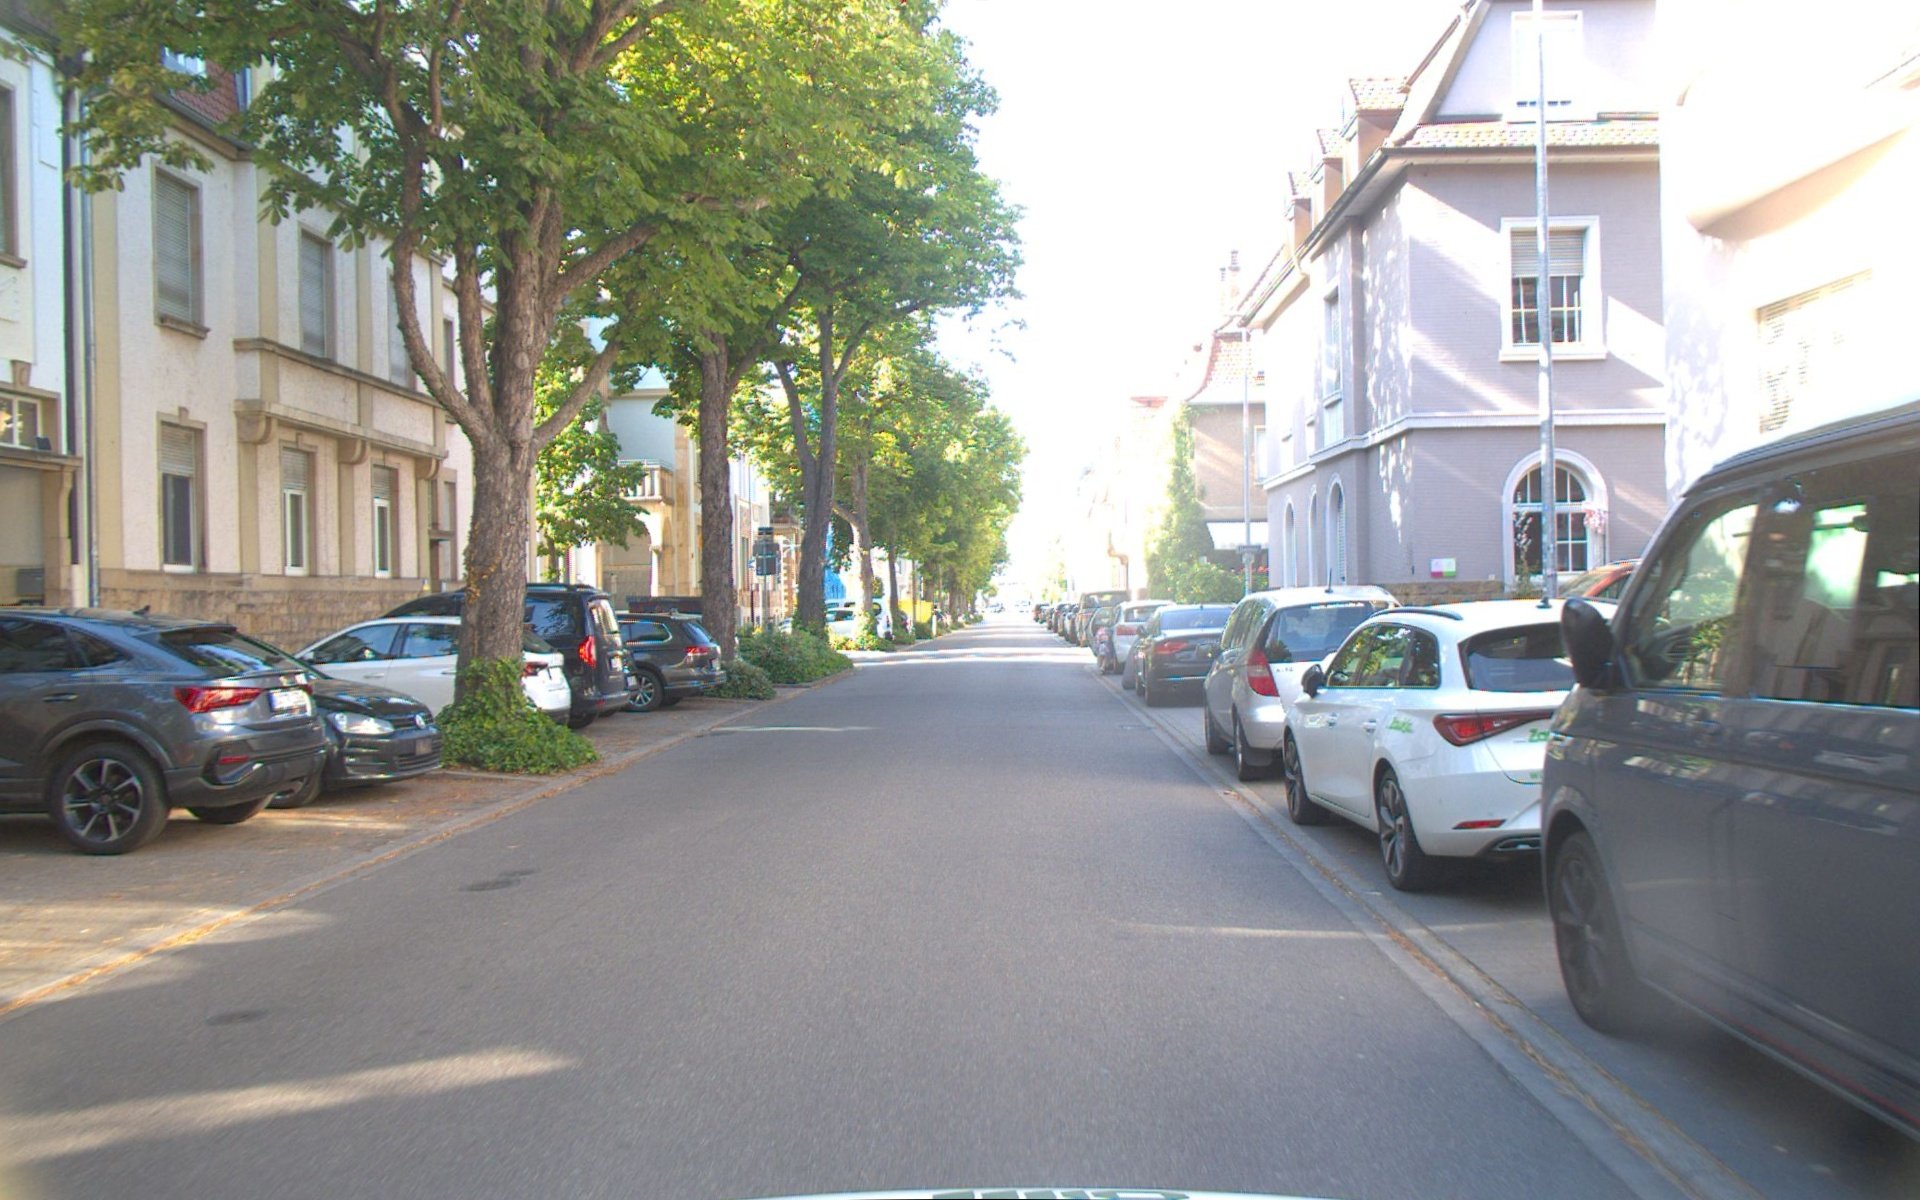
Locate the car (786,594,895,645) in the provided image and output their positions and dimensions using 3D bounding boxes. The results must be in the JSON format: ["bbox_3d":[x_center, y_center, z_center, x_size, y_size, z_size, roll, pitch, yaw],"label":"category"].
[{"bbox_3d":[-4.360,0.708,60.782,3.906,1.791,1.797,1,-1,-2],"label":"car"}]

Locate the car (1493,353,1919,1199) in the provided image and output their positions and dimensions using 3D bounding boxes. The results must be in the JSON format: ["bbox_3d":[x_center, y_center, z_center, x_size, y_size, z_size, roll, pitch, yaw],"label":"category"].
[{"bbox_3d":[3.012,0.403,4.219,1.826,1.949,4.783,-3,0,2],"label":"car"}]

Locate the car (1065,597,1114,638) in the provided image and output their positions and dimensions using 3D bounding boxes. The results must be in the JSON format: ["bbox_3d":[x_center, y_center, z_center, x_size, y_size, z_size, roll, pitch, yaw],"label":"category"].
[{"bbox_3d":[4.995,0.663,64.125,1.656,1.423,3.806,-4,0,2],"label":"car"}]

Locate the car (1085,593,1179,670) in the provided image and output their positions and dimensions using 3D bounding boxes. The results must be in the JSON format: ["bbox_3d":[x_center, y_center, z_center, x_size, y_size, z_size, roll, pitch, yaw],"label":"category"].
[{"bbox_3d":[3.876,0.685,37.827,1.665,1.566,4.155,-3,0,0],"label":"car"}]

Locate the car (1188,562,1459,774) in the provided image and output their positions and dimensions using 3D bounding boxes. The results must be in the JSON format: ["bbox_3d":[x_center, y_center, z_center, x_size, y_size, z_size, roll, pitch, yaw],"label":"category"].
[{"bbox_3d":[3.256,0.565,15.577,1.752,1.628,4.001,-4,0,3],"label":"car"}]

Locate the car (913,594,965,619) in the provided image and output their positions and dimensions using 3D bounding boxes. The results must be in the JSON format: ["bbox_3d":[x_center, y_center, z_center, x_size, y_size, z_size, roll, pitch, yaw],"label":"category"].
[{"bbox_3d":[-1.655,0.493,132.055,3.922,1.873,2.001,1,1,4],"label":"car"}]

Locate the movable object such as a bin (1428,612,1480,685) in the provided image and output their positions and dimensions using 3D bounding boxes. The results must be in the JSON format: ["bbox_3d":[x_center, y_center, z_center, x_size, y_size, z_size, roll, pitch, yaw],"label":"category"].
[{"bbox_3d":[7.419,0.721,24.864,0.557,1.058,0.618,-2,0,-1],"label":"movable object such as a bin"}]

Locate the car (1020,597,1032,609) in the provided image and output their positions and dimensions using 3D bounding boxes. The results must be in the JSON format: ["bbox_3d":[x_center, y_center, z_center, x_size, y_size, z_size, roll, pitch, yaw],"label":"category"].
[{"bbox_3d":[9.831,0.432,245.605,1.734,1.660,3.867,-1,0,3],"label":"car"}]

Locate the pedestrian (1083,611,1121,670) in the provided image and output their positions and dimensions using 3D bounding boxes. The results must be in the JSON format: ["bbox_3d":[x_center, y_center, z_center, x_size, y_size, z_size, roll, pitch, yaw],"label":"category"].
[{"bbox_3d":[3.181,0.890,37.020,0.709,1.279,0.645,-2,0,-5],"label":"pedestrian"}]

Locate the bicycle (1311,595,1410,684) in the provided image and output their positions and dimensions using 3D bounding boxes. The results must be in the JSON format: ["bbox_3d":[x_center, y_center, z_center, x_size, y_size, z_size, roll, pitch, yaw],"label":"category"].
[{"bbox_3d":[6.524,0.617,27.094,1.060,1.361,2.250,-2,0,1],"label":"bicycle"}]

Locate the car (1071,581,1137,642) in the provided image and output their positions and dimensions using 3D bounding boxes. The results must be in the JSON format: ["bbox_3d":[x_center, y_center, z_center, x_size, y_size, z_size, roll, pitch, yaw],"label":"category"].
[{"bbox_3d":[4.926,0.373,57.144,1.865,1.903,4.674,-4,0,2],"label":"car"}]

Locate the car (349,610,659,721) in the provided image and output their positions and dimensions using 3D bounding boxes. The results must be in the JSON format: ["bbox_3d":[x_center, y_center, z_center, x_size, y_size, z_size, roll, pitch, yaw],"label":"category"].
[{"bbox_3d":[-6.413,0.908,23.565,3.898,1.463,1.829,-1,-1,-1],"label":"car"}]

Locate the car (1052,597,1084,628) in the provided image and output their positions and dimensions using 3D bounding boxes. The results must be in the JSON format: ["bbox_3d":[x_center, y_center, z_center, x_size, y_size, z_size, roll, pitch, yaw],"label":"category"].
[{"bbox_3d":[6.002,0.692,92.068,1.734,1.660,3.867,-1,0,3],"label":"car"}]

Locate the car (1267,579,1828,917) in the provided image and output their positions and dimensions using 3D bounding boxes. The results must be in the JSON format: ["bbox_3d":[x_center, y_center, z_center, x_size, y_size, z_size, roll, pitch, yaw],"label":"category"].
[{"bbox_3d":[3.086,0.673,9.747,1.644,1.483,4.438,-2,0,-1],"label":"car"}]

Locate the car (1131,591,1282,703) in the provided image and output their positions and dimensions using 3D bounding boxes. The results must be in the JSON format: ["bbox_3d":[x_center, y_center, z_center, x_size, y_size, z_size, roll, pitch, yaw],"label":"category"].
[{"bbox_3d":[3.767,0.672,25.980,1.816,1.519,4.609,-3,0,3],"label":"car"}]

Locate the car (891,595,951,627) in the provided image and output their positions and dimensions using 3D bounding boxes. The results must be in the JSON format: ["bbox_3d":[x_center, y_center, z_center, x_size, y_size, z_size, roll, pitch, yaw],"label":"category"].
[{"bbox_3d":[-2.647,0.725,111.359,3.910,2.049,1.997,-1,-1,-6],"label":"car"}]

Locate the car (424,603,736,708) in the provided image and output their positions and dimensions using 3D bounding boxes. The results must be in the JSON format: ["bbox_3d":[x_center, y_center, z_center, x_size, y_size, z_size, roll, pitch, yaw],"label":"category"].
[{"bbox_3d":[-5.882,0.845,25.962,4.439,1.529,1.892,-1,-1,0],"label":"car"}]

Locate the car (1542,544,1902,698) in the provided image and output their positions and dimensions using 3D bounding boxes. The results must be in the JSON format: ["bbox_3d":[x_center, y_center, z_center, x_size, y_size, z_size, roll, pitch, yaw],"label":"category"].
[{"bbox_3d":[10.314,0.290,22.620,4.053,1.875,1.765,-2,-1,1],"label":"car"}]

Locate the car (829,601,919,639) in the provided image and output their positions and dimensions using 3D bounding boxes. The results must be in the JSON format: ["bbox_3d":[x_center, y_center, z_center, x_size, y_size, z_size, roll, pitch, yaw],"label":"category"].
[{"bbox_3d":[-3.901,0.893,74.552,3.910,1.579,1.835,-1,0,-6],"label":"car"}]

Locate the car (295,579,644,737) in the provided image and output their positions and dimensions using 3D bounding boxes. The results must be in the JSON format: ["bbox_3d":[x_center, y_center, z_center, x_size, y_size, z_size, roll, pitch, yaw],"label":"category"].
[{"bbox_3d":[-6.185,0.714,21.170,3.897,1.888,1.829,-1,-1,0],"label":"car"}]

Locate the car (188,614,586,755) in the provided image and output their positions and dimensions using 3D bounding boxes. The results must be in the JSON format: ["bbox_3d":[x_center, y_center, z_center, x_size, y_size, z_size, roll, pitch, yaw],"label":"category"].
[{"bbox_3d":[-6.391,0.916,18.783,3.907,1.473,1.741,-1,-1,-2],"label":"car"}]

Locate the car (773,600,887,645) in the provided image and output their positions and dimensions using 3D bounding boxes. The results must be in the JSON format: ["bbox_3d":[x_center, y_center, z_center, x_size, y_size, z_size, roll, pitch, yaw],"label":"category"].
[{"bbox_3d":[-4.557,0.803,58.483,3.906,1.490,1.797,1,-1,-2],"label":"car"}]

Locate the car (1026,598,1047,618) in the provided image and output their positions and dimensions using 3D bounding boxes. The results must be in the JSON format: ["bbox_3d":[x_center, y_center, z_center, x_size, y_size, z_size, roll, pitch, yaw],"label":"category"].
[{"bbox_3d":[6.788,0.707,146.477,1.734,1.660,3.867,-1,0,3],"label":"car"}]

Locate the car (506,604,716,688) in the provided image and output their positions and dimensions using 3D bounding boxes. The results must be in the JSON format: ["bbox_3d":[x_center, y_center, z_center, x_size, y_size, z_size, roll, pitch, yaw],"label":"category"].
[{"bbox_3d":[-6.580,0.855,31.423,3.598,1.513,1.641,-1,-1,1],"label":"car"}]

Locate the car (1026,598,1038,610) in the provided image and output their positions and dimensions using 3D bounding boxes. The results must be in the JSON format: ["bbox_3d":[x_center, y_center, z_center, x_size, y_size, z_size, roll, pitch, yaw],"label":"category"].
[{"bbox_3d":[10.393,0.529,238.132,1.734,1.660,3.867,-1,0,3],"label":"car"}]

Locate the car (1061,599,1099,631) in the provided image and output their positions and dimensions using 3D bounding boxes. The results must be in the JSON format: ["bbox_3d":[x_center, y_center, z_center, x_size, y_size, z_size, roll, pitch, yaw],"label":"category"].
[{"bbox_3d":[5.851,0.700,80.809,1.734,1.480,3.867,-1,0,3],"label":"car"}]

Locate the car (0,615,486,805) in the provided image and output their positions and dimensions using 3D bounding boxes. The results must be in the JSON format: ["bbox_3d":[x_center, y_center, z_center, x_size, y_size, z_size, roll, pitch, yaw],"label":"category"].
[{"bbox_3d":[-6.234,0.870,14.053,3.819,1.471,1.860,0,0,6],"label":"car"}]

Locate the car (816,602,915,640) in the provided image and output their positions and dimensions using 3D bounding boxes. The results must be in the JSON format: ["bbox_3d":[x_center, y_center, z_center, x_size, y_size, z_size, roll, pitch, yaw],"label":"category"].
[{"bbox_3d":[-3.954,0.884,69.489,3.903,1.495,1.865,-1,1,4],"label":"car"}]

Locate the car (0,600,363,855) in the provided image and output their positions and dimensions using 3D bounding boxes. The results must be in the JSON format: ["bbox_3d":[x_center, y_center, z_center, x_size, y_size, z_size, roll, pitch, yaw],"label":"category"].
[{"bbox_3d":[-6.443,0.815,11.475,3.904,1.620,1.859,0,0,1],"label":"car"}]

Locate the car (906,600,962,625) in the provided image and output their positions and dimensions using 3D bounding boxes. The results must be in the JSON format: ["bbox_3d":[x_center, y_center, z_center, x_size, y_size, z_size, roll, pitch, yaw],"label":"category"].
[{"bbox_3d":[-1.926,0.942,123.443,3.922,1.765,1.895,1,1,4],"label":"car"}]

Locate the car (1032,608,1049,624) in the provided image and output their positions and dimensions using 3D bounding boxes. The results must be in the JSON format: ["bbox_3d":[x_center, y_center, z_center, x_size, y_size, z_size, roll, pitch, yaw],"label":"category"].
[{"bbox_3d":[8.498,1.710,174.968,1.734,1.660,3.867,-1,0,3],"label":"car"}]

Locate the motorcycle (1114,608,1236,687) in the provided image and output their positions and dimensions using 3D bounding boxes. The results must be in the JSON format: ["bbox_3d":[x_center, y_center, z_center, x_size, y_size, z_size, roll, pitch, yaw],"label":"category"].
[{"bbox_3d":[3.907,0.859,30.219,2.147,1.362,0.922,1,1,6],"label":"motorcycle"}]

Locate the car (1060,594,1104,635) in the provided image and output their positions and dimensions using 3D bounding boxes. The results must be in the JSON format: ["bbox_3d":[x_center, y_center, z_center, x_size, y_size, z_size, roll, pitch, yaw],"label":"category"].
[{"bbox_3d":[5.113,0.595,69.593,1.752,1.646,3.867,-1,0,3],"label":"car"}]
